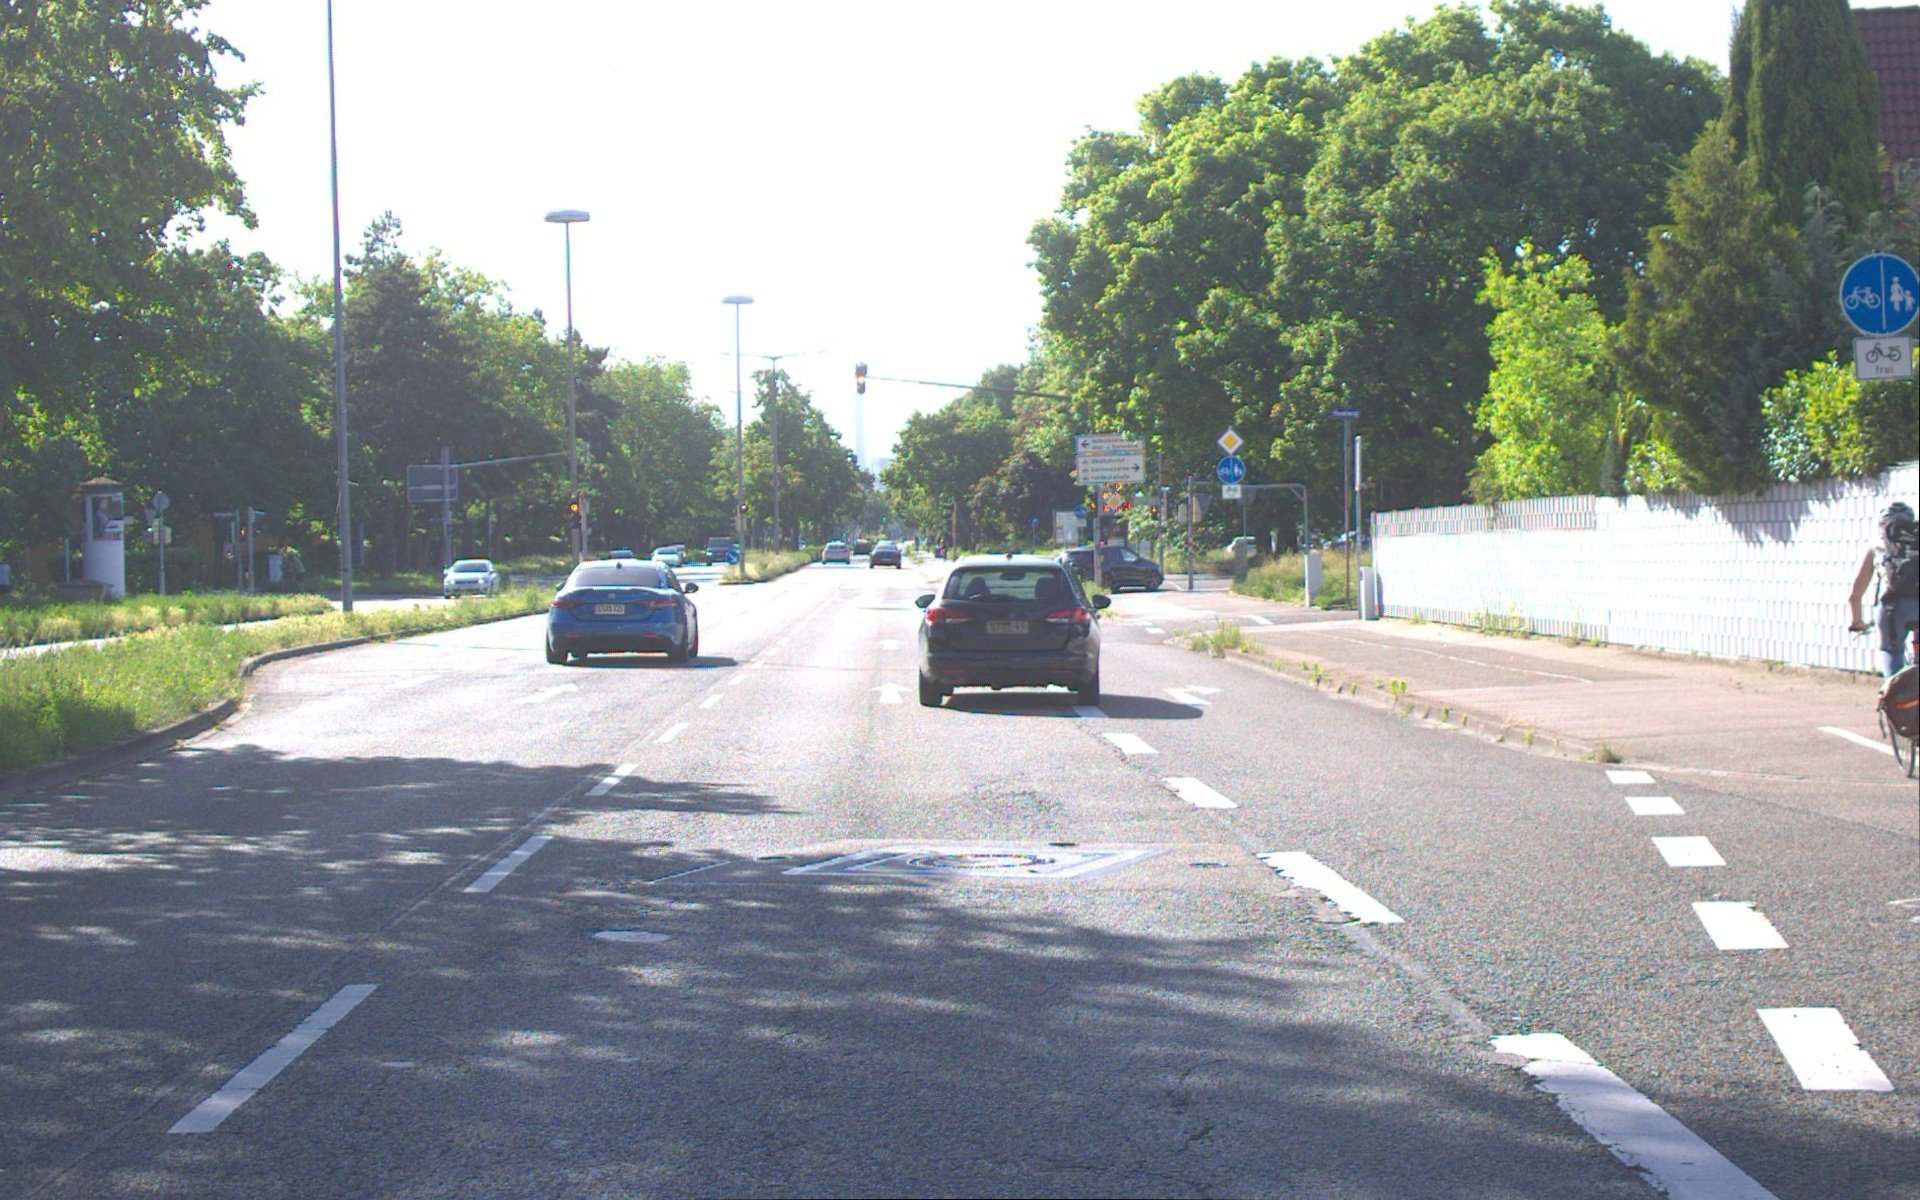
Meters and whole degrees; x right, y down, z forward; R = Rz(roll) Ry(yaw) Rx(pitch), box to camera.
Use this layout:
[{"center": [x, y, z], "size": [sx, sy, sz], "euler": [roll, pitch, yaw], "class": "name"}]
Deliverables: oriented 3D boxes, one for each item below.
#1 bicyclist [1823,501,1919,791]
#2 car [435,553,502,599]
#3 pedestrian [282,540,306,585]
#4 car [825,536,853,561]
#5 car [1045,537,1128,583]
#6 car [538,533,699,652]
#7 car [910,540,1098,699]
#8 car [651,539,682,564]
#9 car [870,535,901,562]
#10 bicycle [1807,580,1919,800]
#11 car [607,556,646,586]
[{"center": [5.547, 0.249, 20.184], "size": [0.630, 1.627, 0.982], "euler": [-4, 1, 2], "class": "bicyclist"}, {"center": [-18.545, -0.898, 129.782], "size": [1.912, 1.697, 4.408], "euler": [1, 0, -1], "class": "car"}, {"center": [-28.082, -1.599, 144.969], "size": [0.846, 1.828, 0.550], "euler": [-1, 10, 2], "class": "pedestrian"}, {"center": [-8.145, -3.495, 231.641], "size": [1.824, 1.609, 3.840], "euler": [0, 0, -1], "class": "car"}, {"center": [4.204, -1.325, 113.599], "size": [1.734, 1.454, 3.837], "euler": [0, 1, 18], "class": "car"}, {"center": [-4.699, -0.122, 47.814], "size": [1.888, 1.547, 4.000], "euler": [-1, 1, -1], "class": "car"}, {"center": [0.388, 0.163, 34.449], "size": [1.755, 1.504, 3.809], "euler": [0, 1, -1], "class": "car"}, {"center": [-20.473, -3.358, 240.067], "size": [1.864, 1.678, 4.000], "euler": [2, 1, -1], "class": "car"}, {"center": [-4.409, -3.029, 203.140], "size": [1.732, 1.579, 3.840], "euler": [1, 1, -2], "class": "car"}, {"center": [5.582, 0.498, 20.395], "size": [0.574, 1.151, 2.141], "euler": [-4, 2, 2], "class": "bicycle"}, {"center": [-19.453, -1.715, 200.582], "size": [1.864, 1.678, 4.260], "euler": [1, 1, -1], "class": "car"}]
